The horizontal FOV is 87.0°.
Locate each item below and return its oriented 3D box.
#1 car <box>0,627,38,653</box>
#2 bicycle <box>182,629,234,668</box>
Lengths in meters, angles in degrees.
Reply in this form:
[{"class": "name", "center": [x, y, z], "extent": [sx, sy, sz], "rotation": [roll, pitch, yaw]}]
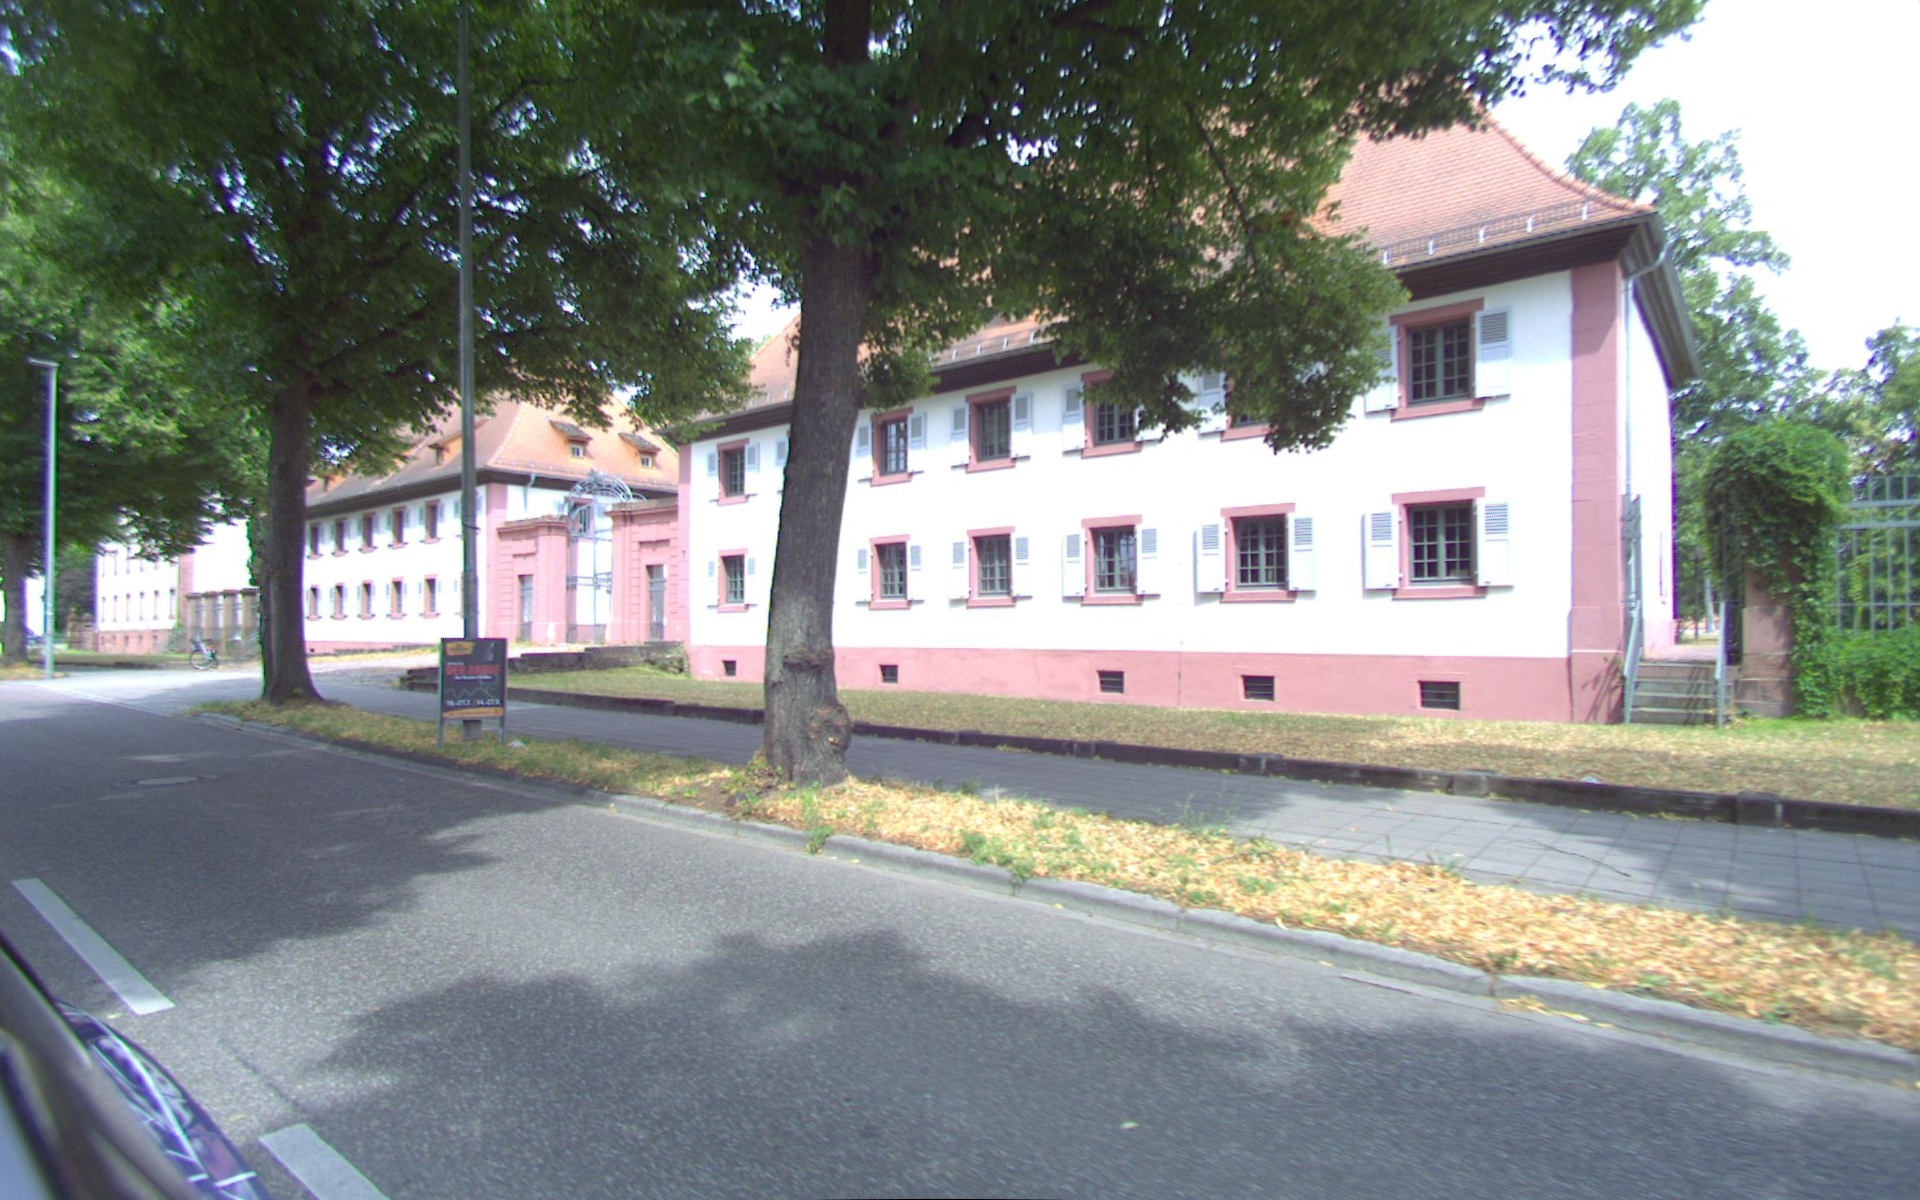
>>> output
[{"class": "car", "center": [-100.455, 4.265, 106.210], "extent": [2.353, 2.571, 5.257], "rotation": [-2, -1, 40]}, {"class": "bicycle", "center": [-22.892, 1.468, 30.792], "extent": [2.223, 1.103, 0.716], "rotation": [-3, 1, 39]}]
